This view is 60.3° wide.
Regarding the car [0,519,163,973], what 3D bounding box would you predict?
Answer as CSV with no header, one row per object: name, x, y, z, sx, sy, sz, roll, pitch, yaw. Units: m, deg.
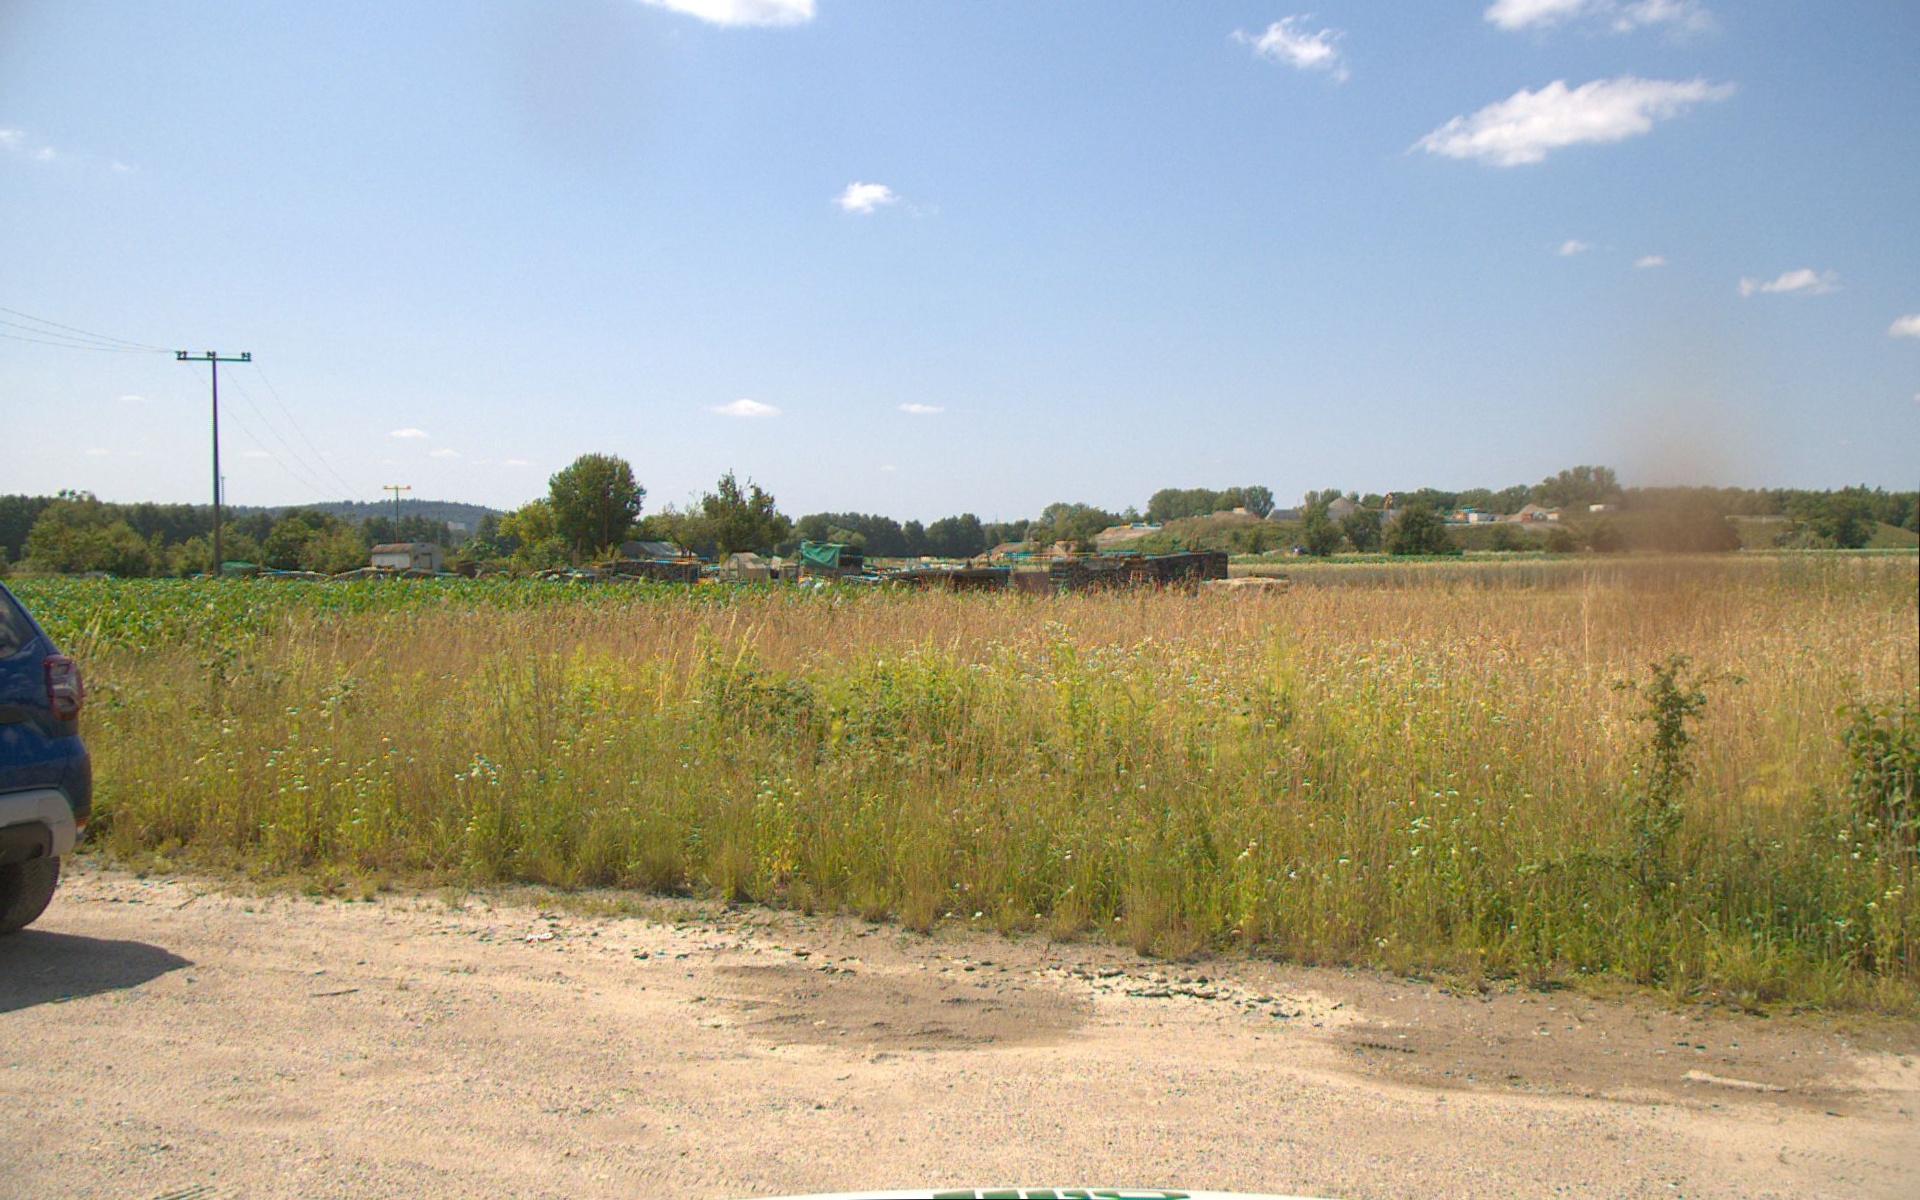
car,-5.672,0.586,6.795,4.353,1.690,1.864,-1,0,22
